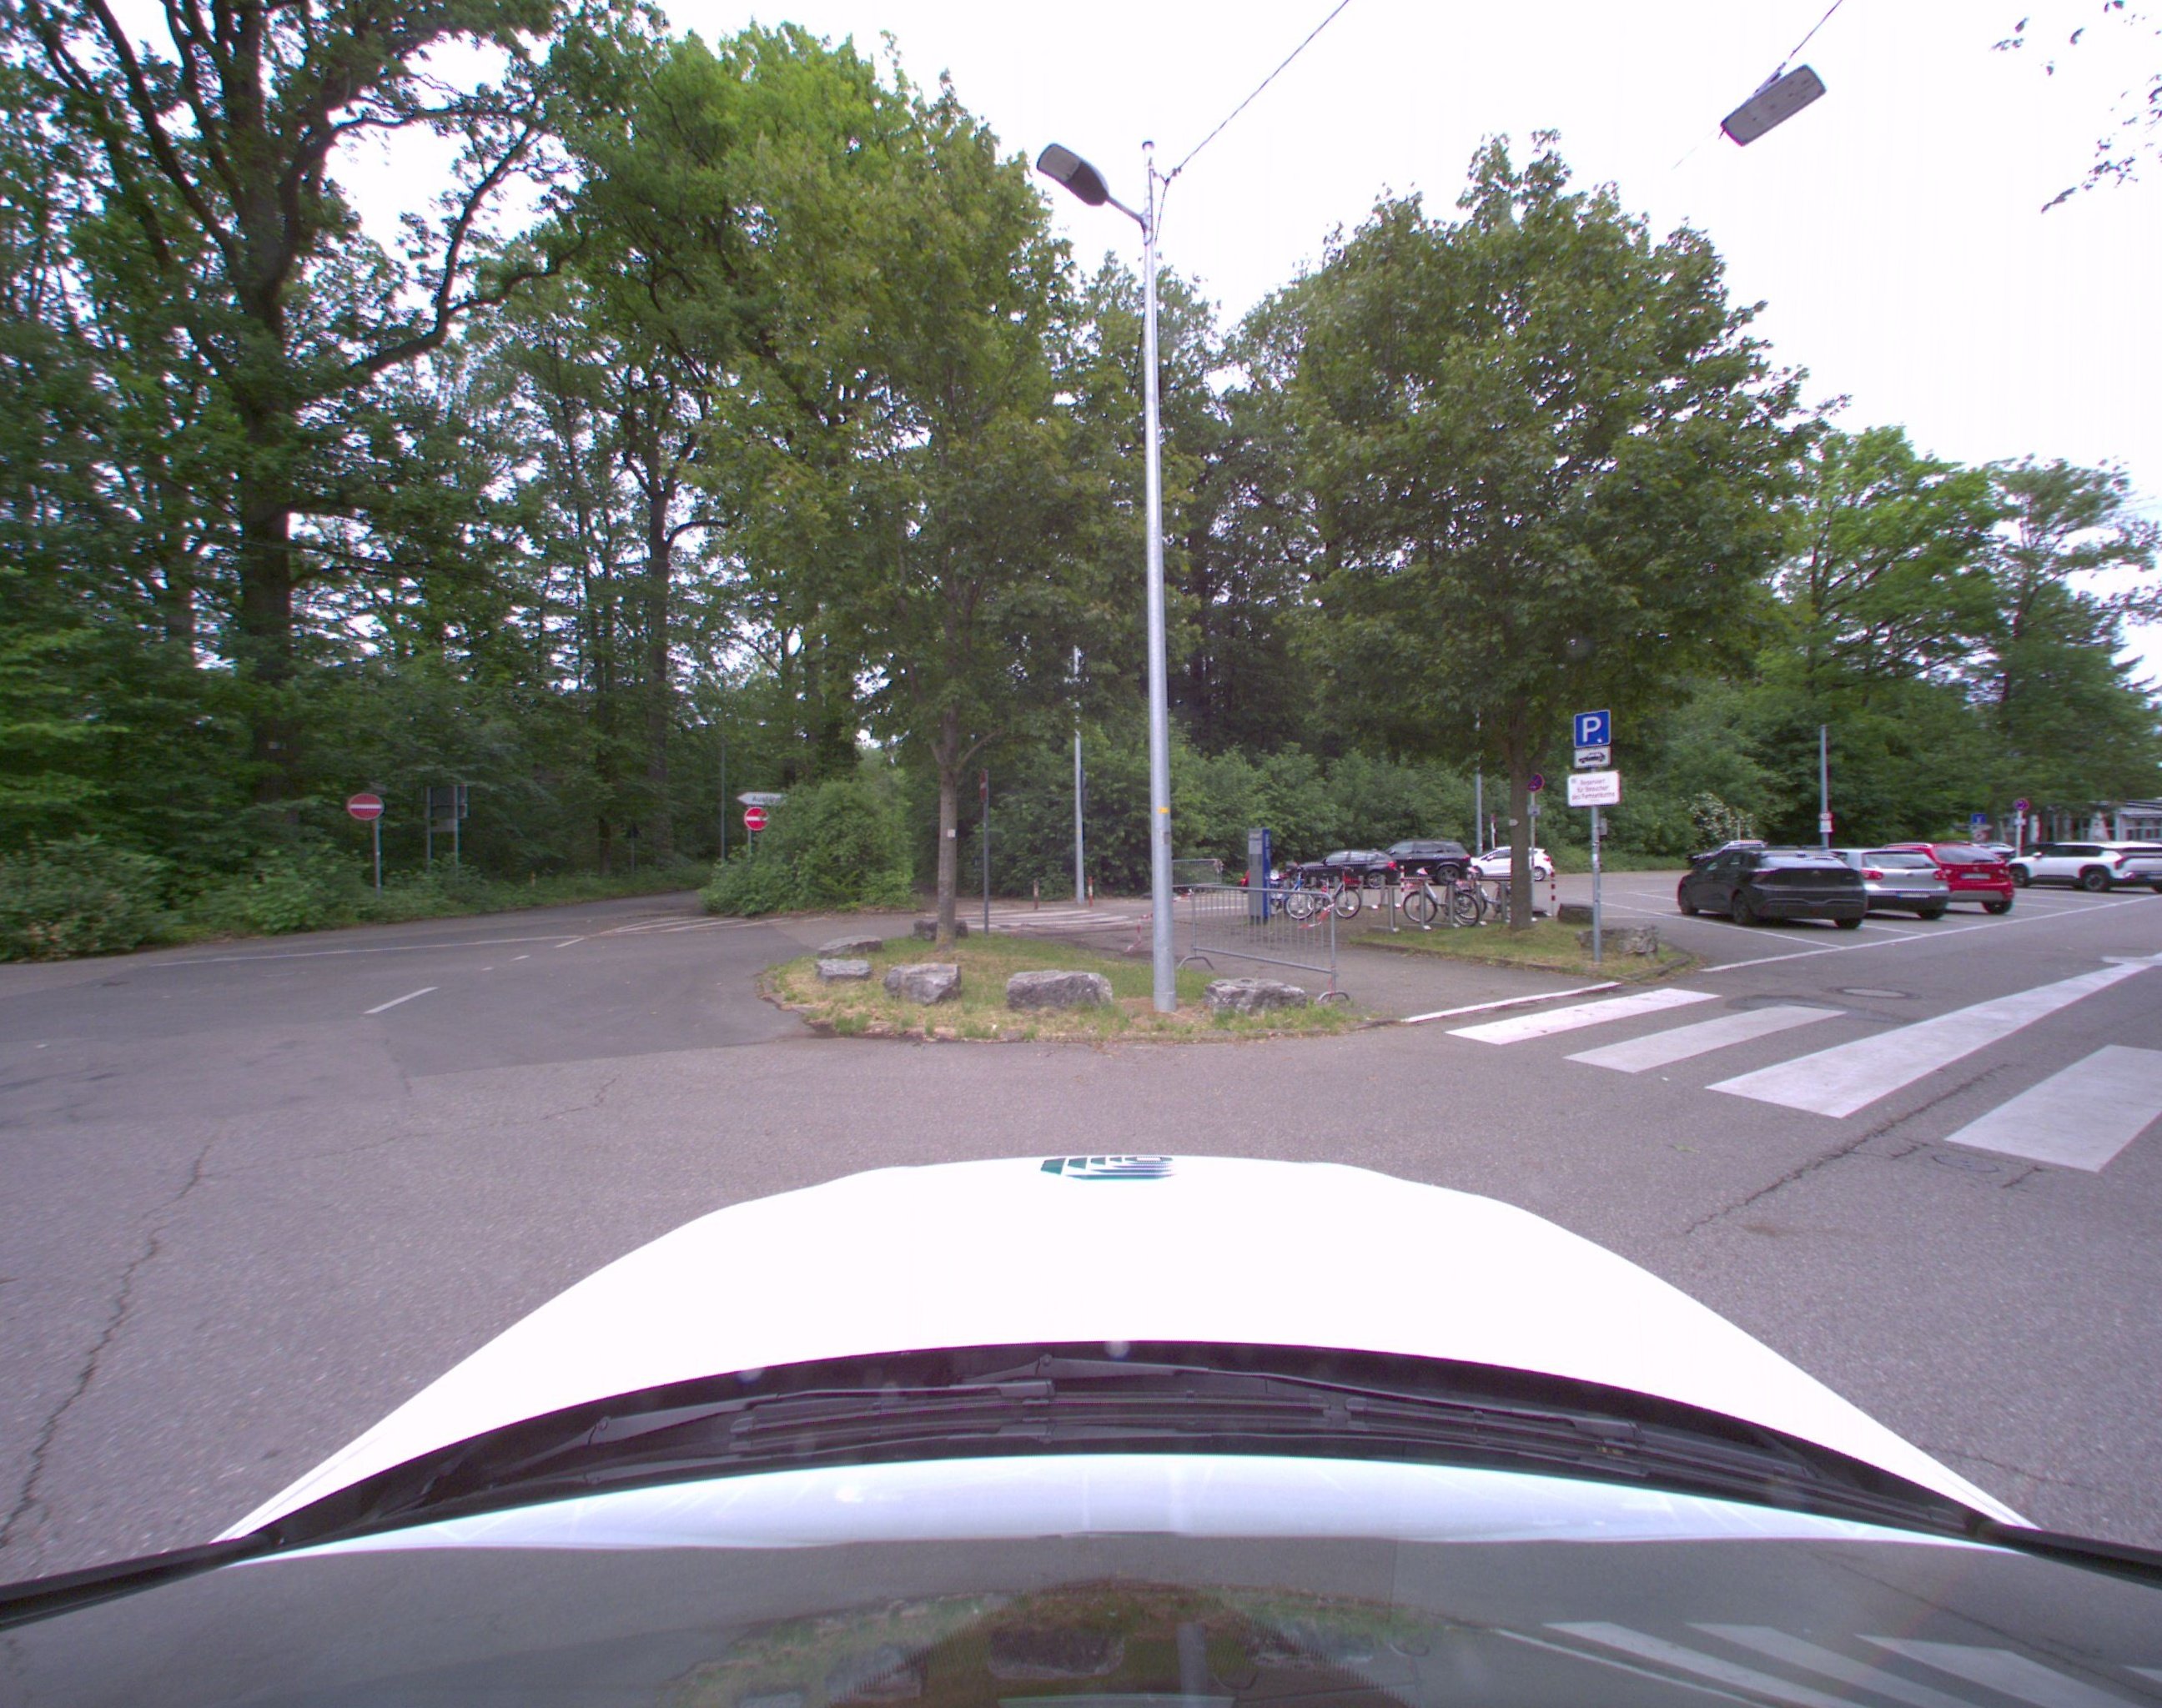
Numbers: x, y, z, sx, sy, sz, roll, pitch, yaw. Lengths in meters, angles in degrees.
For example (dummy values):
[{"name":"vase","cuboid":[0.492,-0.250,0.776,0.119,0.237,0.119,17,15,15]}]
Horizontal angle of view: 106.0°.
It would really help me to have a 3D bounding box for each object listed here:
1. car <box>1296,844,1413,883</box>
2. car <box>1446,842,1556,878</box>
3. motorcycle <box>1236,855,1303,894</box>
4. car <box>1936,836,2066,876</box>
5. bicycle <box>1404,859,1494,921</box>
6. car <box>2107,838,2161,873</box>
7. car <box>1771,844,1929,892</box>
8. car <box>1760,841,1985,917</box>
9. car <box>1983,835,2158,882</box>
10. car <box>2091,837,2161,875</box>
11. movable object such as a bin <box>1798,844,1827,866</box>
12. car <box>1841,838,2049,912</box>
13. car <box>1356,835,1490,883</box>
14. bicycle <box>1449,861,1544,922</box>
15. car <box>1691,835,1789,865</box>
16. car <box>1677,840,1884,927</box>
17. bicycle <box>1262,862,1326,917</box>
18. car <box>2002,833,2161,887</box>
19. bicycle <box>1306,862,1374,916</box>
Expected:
[{"name":"car","cuboid":[9.949,0.334,29.837,3.956,1.376,1.748,0,0,17]},{"name":"car","cuboid":[18.184,0.264,35.442,3.956,1.510,1.878,-1,0,17]},{"name":"motorcycle","cuboid":[6.106,0.639,26.414,2.004,1.207,0.735,0,0,27]},{"name":"car","cuboid":[40.233,0.063,35.755,1.879,1.663,4.016,0,0,15]},{"name":"bicycle","cuboid":[7.070,0.665,15.720,0.483,1.111,1.671,0,0,-25]},{"name":"car","cuboid":[45.077,0.067,33.248,1.741,1.443,4.296,0,1,15]},{"name":"car","cuboid":[24.853,0.411,26.542,1.850,1.442,4.333,-1,0,14]},{"name":"car","cuboid":[17.385,0.477,18.196,1.857,1.483,4.015,0,0,14]},{"name":"car","cuboid":[35.520,0.138,29.417,1.855,1.554,4.011,-1,0,10]},{"name":"car","cuboid":[42.231,0.051,31.734,1.753,1.443,3.863,0,1,17]},{"name":"movable object such as a bin","cuboid":[44.690,0.065,49.791,1.112,1.314,1.192,-1,0,32]},{"name":"car","cuboid":[20.299,0.437,19.365,1.669,1.585,3.668,-1,0,14]},{"name":"car","cuboid":[13.250,0.186,31.881,4.656,1.767,2.122,-1,0,17]},{"name":"bicycle","cuboid":[8.274,0.718,16.290,0.483,1.111,1.774,0,0,-25]},{"name":"car","cuboid":[38.102,-0.227,47.218,4.026,1.685,1.889,0,0,18]},{"name":"car","cuboid":[13.929,0.502,16.541,1.810,1.523,4.120,0,0,19]},{"name":"bicycle","cuboid":[4.613,0.736,17.776,0.483,1.111,1.686,0,0,-20]},{"name":"car","cuboid":[32.221,0.158,25.914,1.827,1.596,4.206,-1,0,14]},{"name":"bicycle","cuboid":[5.731,0.750,18.102,0.506,1.111,1.672,0,0,-22]}]
